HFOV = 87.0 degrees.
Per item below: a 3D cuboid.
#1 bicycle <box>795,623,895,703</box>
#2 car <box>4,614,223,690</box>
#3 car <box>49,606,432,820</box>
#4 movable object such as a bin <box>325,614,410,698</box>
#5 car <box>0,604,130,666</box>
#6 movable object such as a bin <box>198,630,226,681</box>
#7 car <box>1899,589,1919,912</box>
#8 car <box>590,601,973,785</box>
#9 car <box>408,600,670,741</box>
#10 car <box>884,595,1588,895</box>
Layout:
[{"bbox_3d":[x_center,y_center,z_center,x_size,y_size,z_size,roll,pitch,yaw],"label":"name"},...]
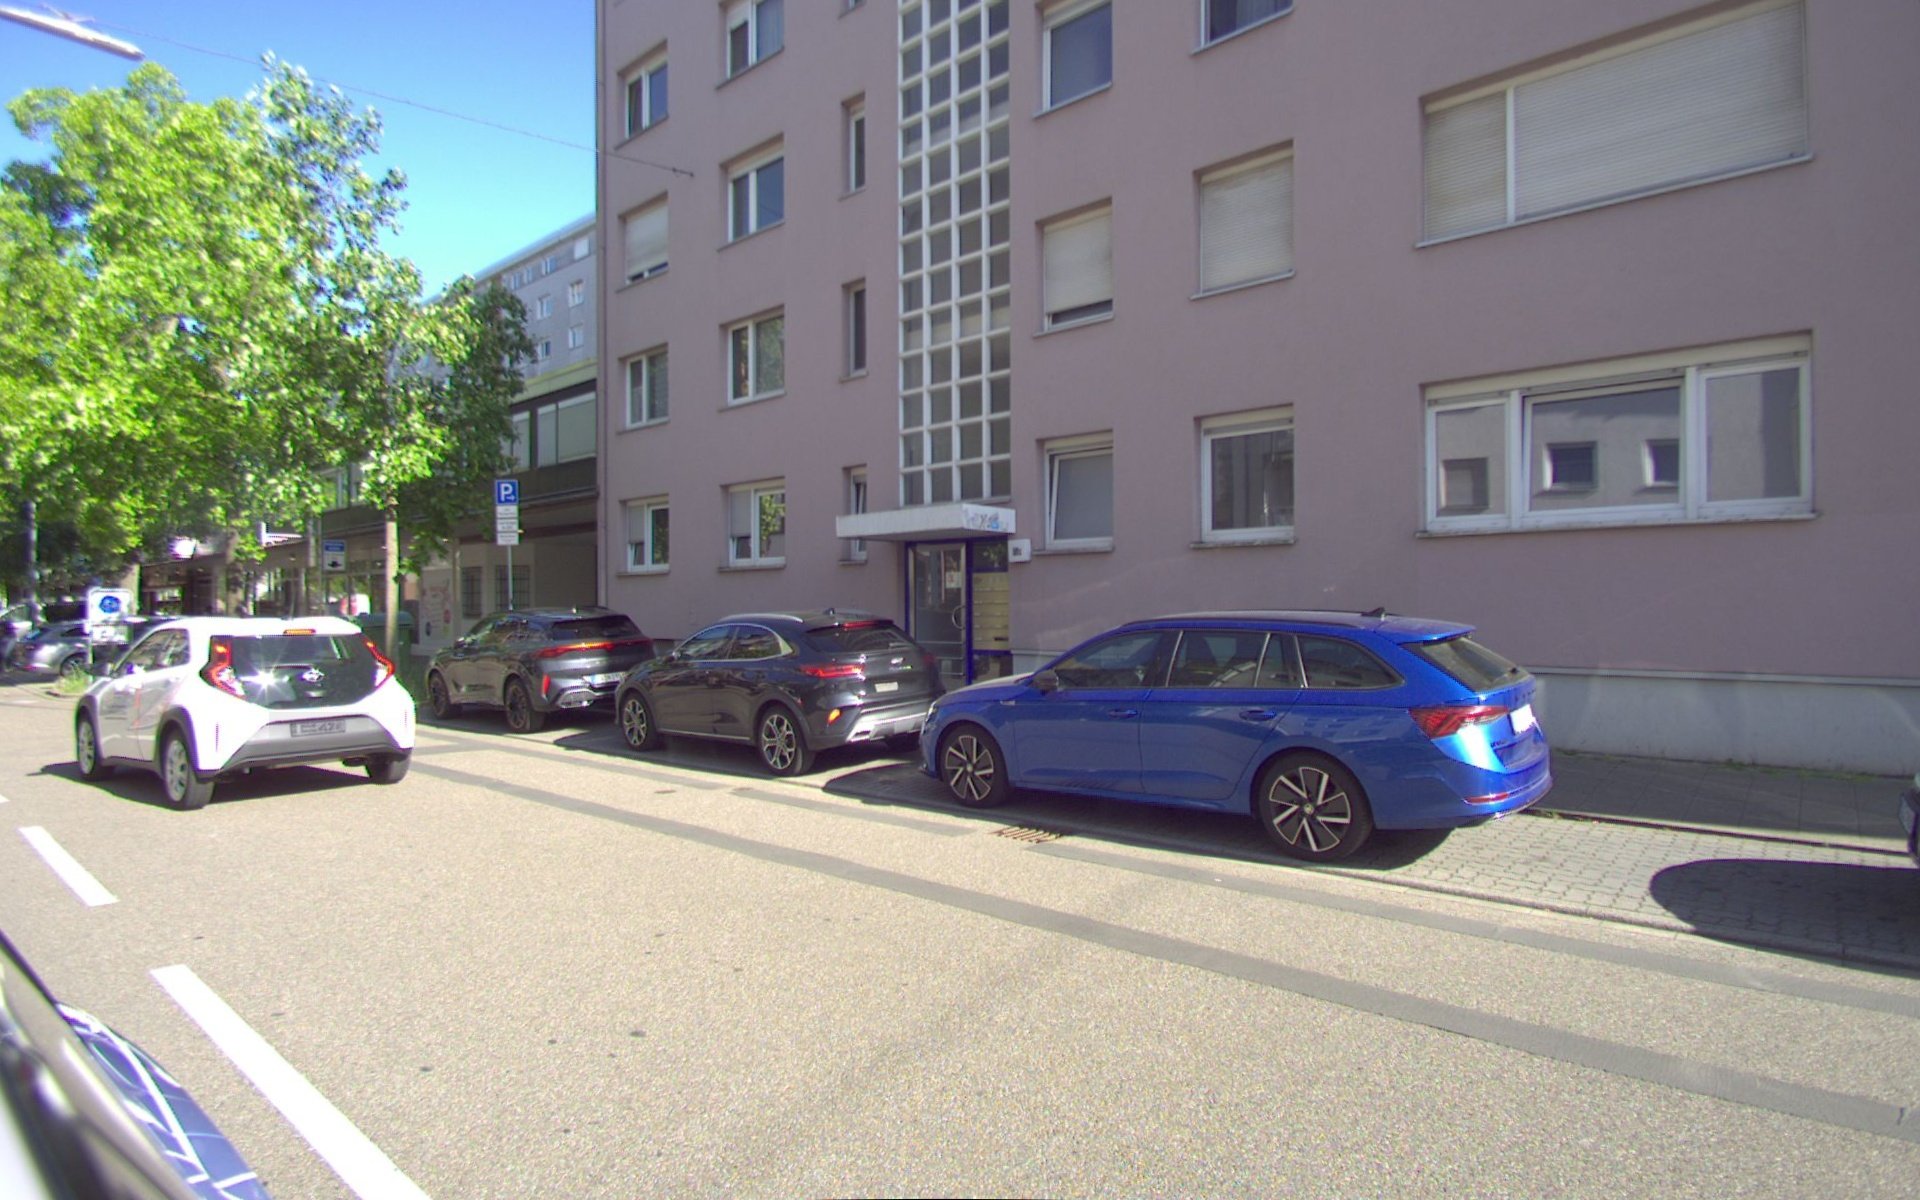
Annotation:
[{"bbox_3d":[-1.692,0.891,14.719,1.649,1.084,0.386,-1,3,42],"label":"bicycle"},{"bbox_3d":[-20.976,1.220,25.177,1.999,1.687,3.945,-1,-1,41],"label":"car"},{"bbox_3d":[-6.621,0.859,9.201,3.778,1.548,1.749,-1,-1,36],"label":"car"},{"bbox_3d":[-11.580,1.059,19.781,1.230,1.557,1.019,0,-1,-44],"label":"movable object such as a bin"},{"bbox_3d":[-31.287,1.161,34.835,1.999,2.047,3.945,-1,-1,41],"label":"car"},{"bbox_3d":[-18.492,1.376,25.031,0.409,1.234,0.482,-1,-1,41],"label":"movable object such as a bin"},{"bbox_3d":[6.335,0.678,3.211,4.812,1.476,1.700,-1,2,41],"label":"car"},{"bbox_3d":[-2.052,0.837,10.807,4.245,1.519,1.798,-1,1,43],"label":"car"},{"bbox_3d":[-6.057,0.889,14.339,4.141,1.604,1.798,-1,2,43],"label":"car"},{"bbox_3d":[1.697,0.774,7.312,4.610,1.476,1.700,-1,1,41],"label":"car"}]
